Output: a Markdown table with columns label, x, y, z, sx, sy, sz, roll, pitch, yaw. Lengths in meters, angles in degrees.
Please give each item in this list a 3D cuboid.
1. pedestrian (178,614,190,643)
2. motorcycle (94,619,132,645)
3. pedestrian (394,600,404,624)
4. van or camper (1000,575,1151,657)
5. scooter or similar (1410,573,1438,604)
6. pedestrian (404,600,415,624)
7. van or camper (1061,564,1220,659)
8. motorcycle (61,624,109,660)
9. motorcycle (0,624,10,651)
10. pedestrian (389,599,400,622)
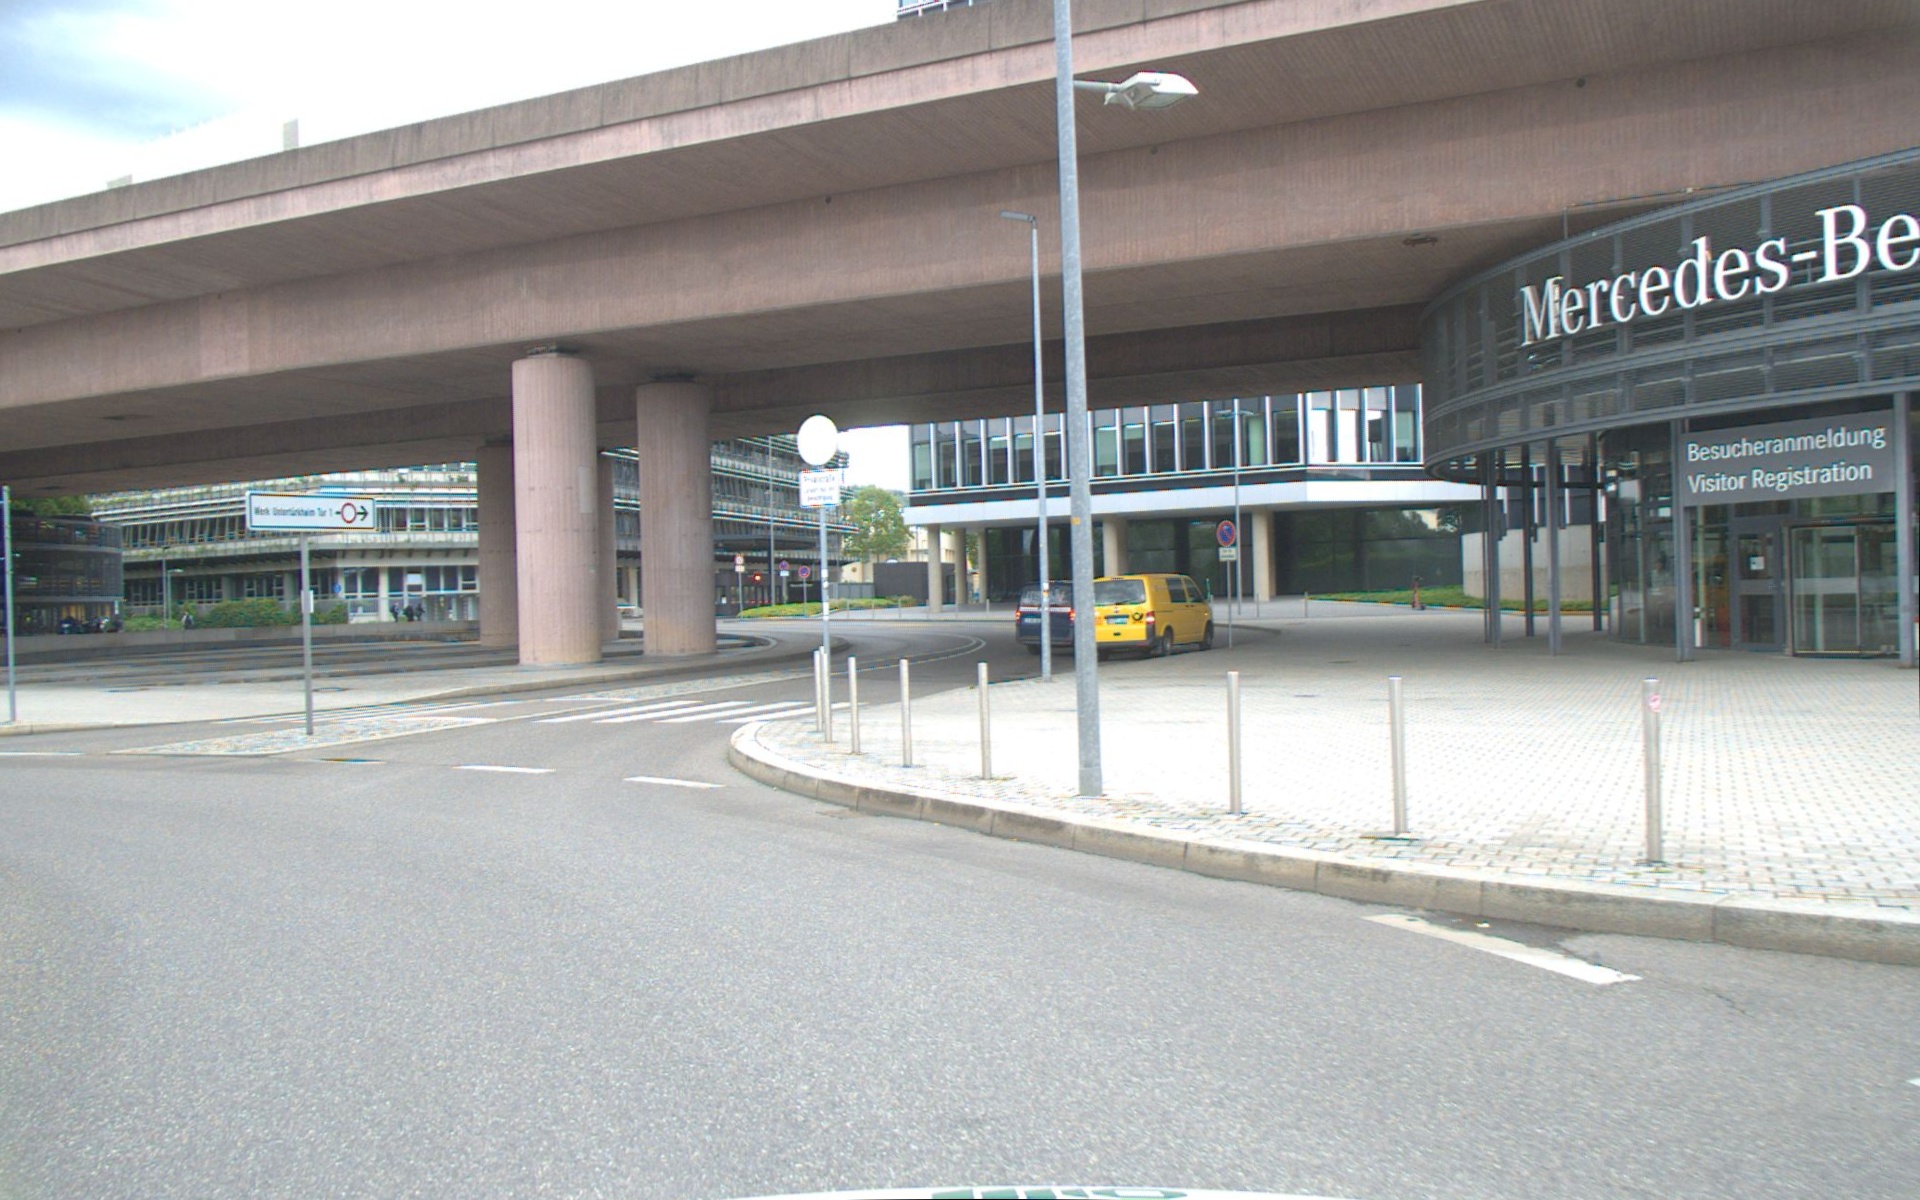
| label | x | y | z | sx | sy | sz | roll | pitch | yaw |
| --- | --- | --- | --- | --- | --- | --- | --- | --- | --- |
| pedestrian | -54.818 | 2.002 | 116.794 | 0.563 | 2.049 | 0.526 | -2 | -1 | 39 |
| motorcycle | -43.472 | 1.636 | 84.877 | 2.314 | 1.241 | 0.672 | 0 | 1 | 33 |
| pedestrian | -36.794 | 0.796 | 108.471 | 0.485 | 1.507 | 0.545 | -1 | 1 | 0 |
| van or camper | 3.103 | 0.361 | 43.321 | 2.106 | 1.926 | 4.895 | -1 | 2 | 28 |
| scooter or similar | 17.663 | -0.438 | 62.972 | 0.684 | 1.124 | 1.502 | -1 | 1 | 2 |
| pedestrian | -36.130 | 0.779 | 108.580 | 0.485 | 1.507 | 0.545 | -1 | 1 | 0 |
| van or camper | 4.436 | 0.232 | 39.993 | 2.309 | 2.034 | 4.501 | -3 | 0 | 27 |
| motorcycle | -34.106 | 1.620 | 64.507 | 0.535 | 1.286 | 1.943 | -1 | 1 | 10 |
| motorcycle | -45.753 | 1.762 | 78.083 | 2.035 | 1.241 | 0.672 | 0 | 1 | 33 |
| pedestrian | -37.668 | 0.729 | 110.194 | 0.485 | 1.507 | 0.545 | -1 | 1 | 0 |
